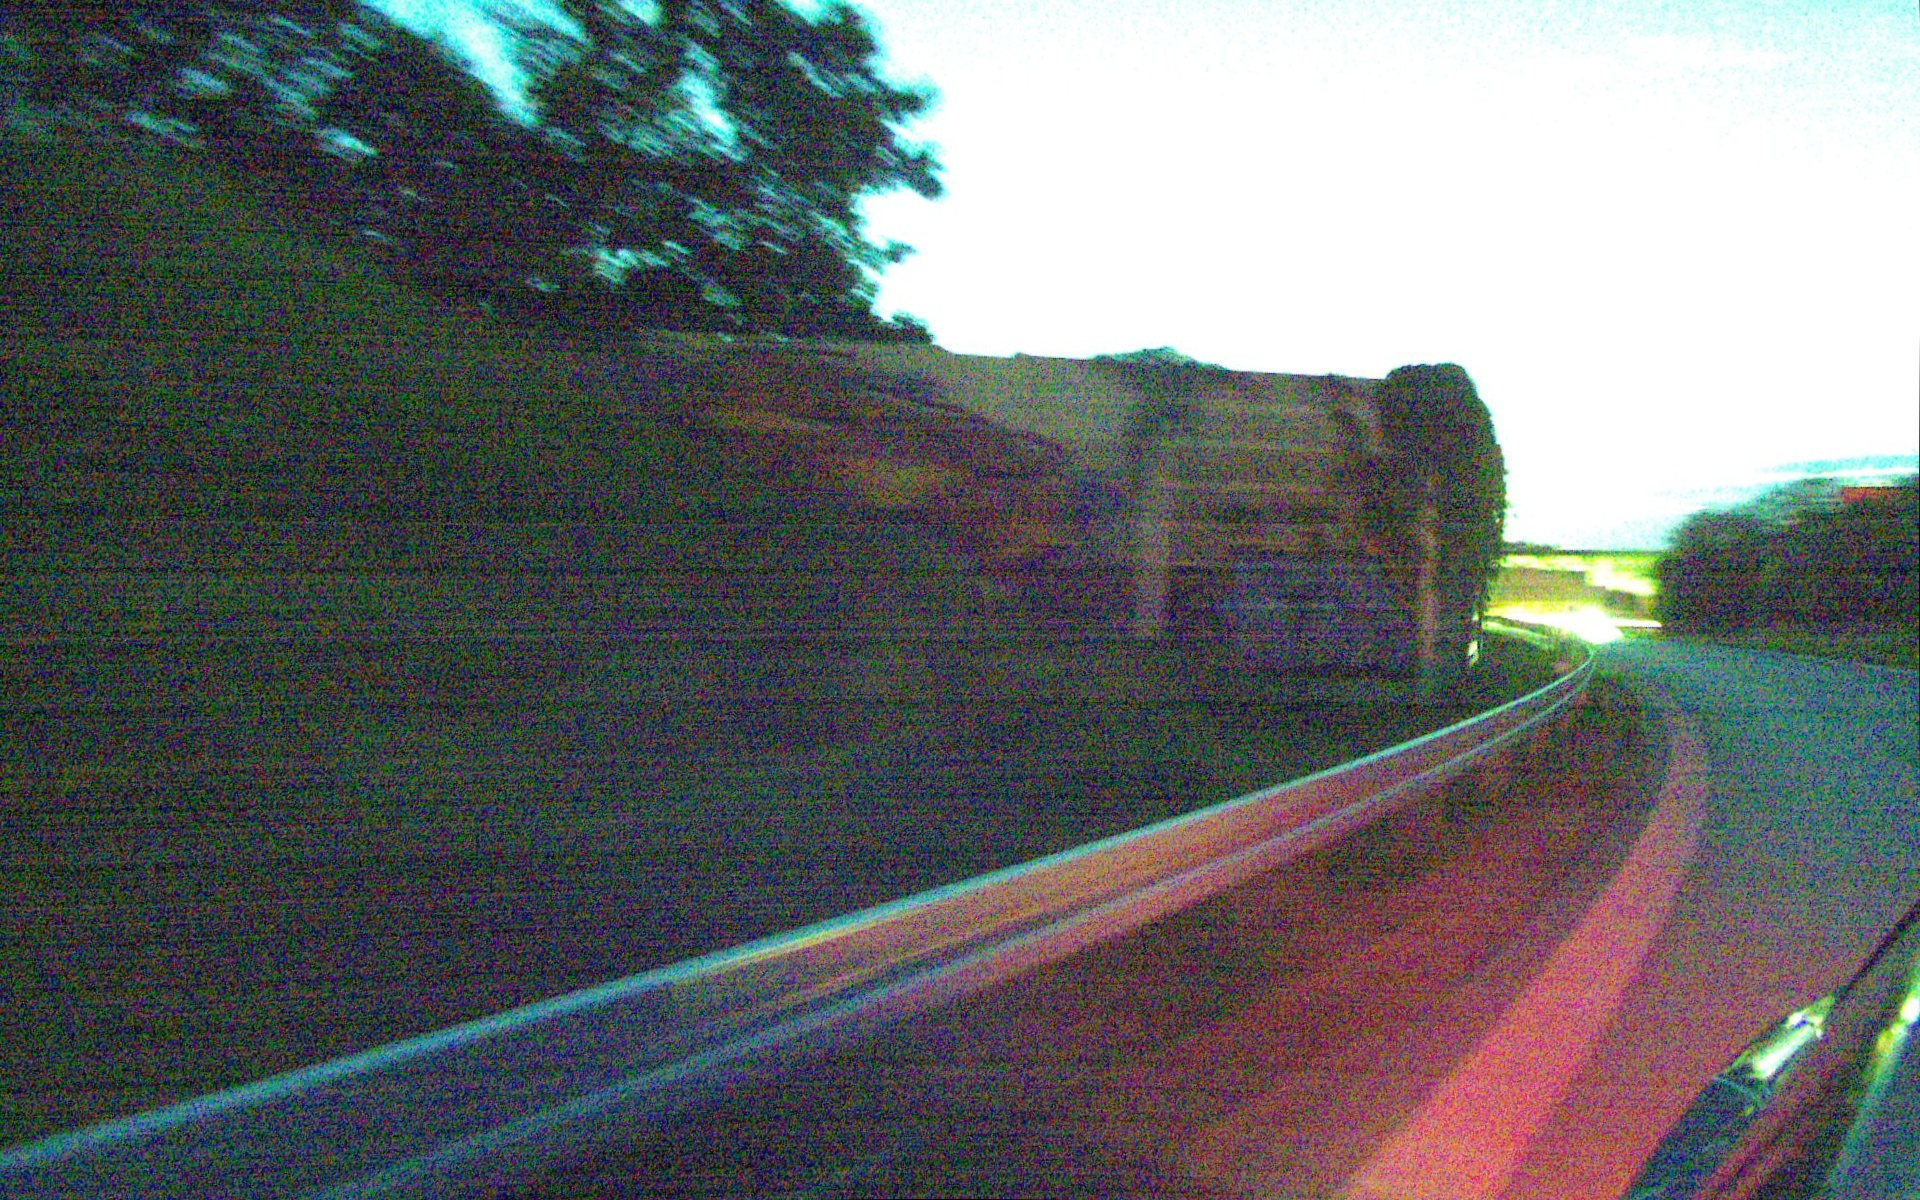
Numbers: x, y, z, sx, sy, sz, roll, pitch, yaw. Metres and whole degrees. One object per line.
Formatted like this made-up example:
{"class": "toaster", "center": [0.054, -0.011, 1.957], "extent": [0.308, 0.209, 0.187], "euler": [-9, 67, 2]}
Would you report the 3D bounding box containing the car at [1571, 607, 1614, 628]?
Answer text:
{"class": "car", "center": [47.046, 1.288, 75.192], "extent": [4.123, 1.477, 1.760], "euler": [1, 1, -44]}
